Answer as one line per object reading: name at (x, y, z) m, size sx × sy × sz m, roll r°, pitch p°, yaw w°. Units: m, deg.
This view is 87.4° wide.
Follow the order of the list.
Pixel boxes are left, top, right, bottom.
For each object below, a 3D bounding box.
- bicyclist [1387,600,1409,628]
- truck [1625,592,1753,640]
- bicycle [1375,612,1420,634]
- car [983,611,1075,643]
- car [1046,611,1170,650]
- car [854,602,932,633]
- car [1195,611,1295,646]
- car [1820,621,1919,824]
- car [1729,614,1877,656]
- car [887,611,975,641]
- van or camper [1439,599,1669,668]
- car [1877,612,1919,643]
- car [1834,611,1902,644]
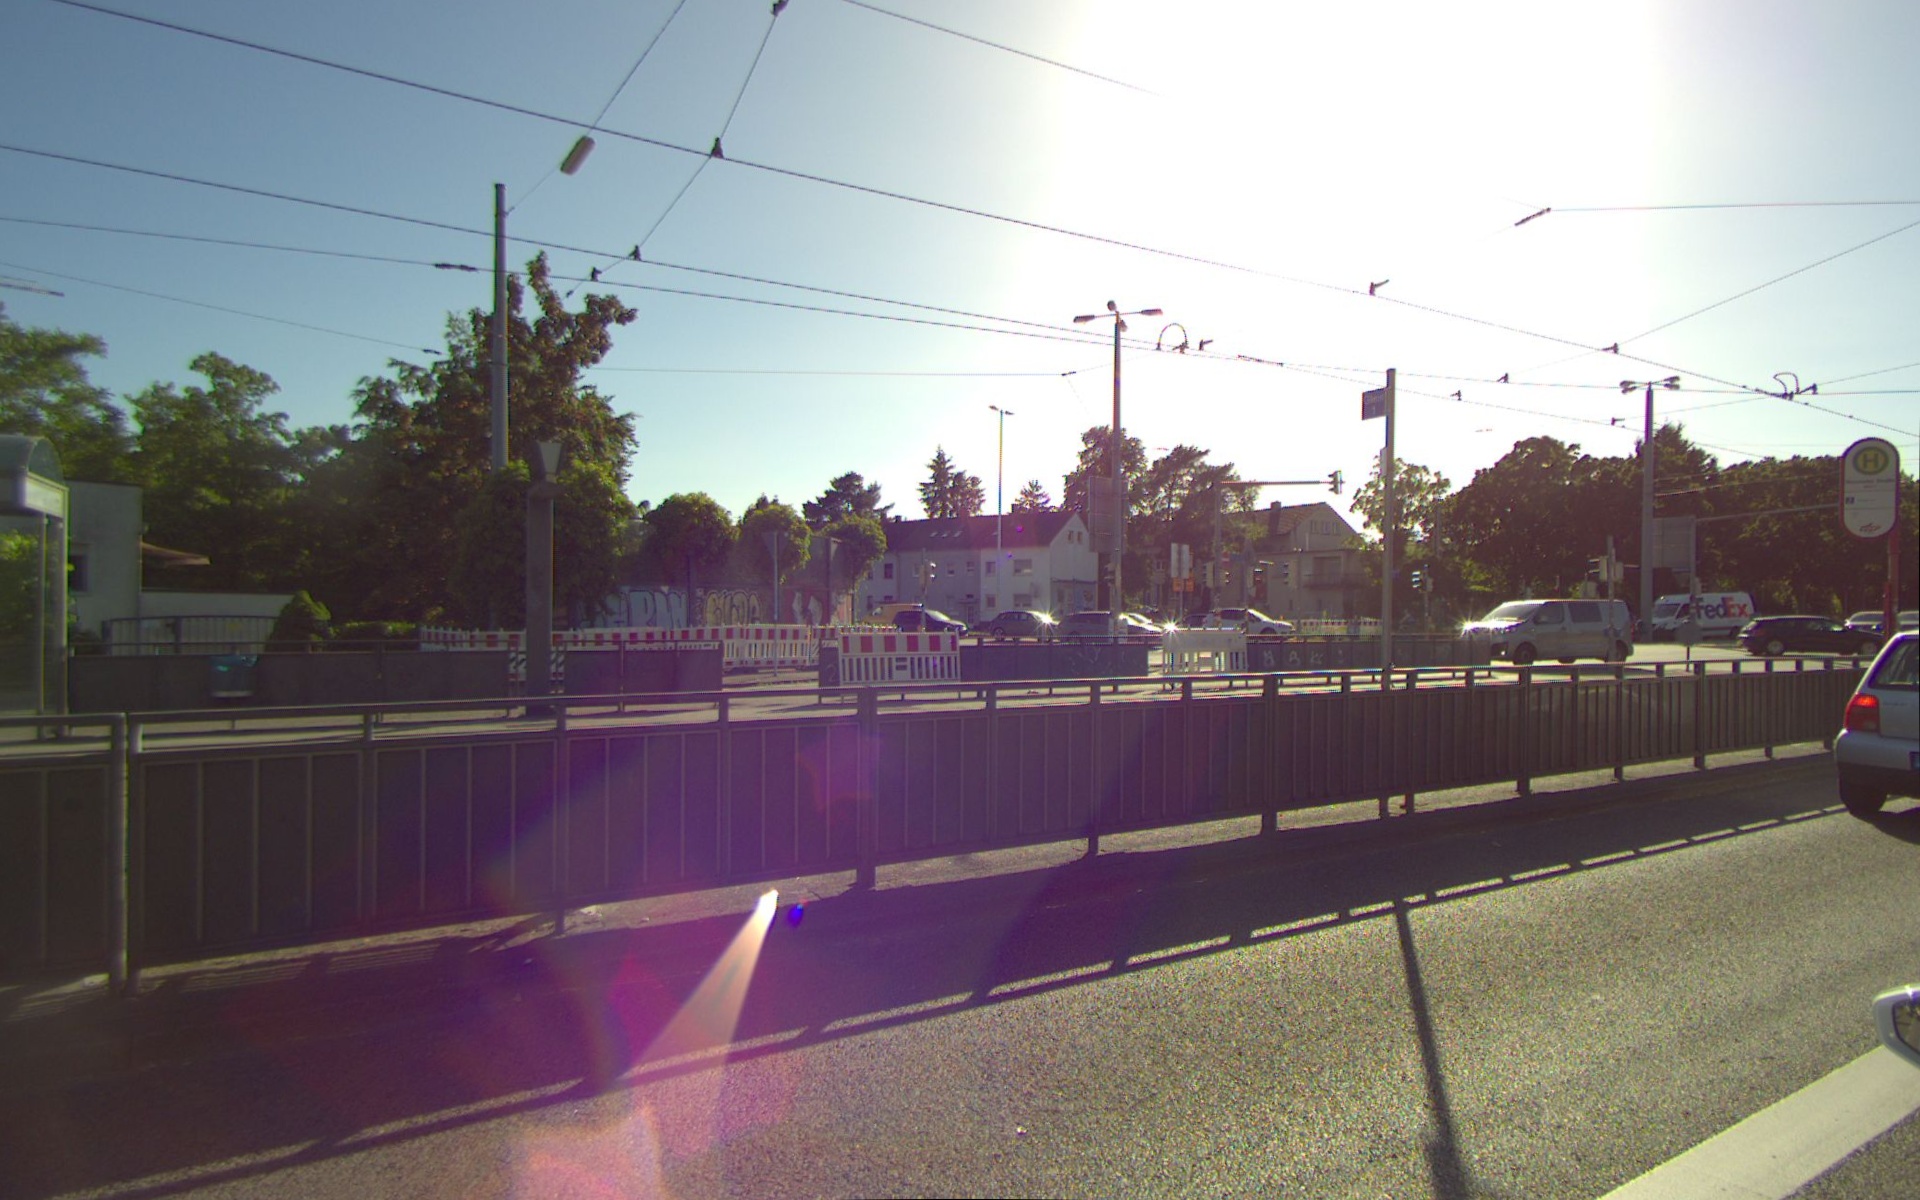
bicyclist at (26.175, 0.827, 59.973) m, size 0.995 × 1.669 × 0.813 m, roll 0°, pitch 0°, yaw 42°
truck at (40.383, 0.887, 55.648) m, size 6.708 × 2.599 × 1.994 m, roll 0°, pitch 0°, yaw -15°
bicycle at (26.124, 1.366, 60.031) m, size 2.370 × 1.279 × 0.813 m, roll 0°, pitch 0°, yaw 43°
car at (3.213, 1.253, 47.338) m, size 4.104 × 1.451 × 1.589 m, roll 0°, pitch -1°, yaw 34°
car at (6.060, 1.208, 41.366) m, size 4.754 × 1.517 × 1.781 m, roll 0°, pitch -1°, yaw 34°
car at (-4.557, 1.172, 67.673) m, size 5.084 × 1.905 × 1.994 m, roll 2°, pitch 1°, yaw 34°
car at (12.578, 1.233, 44.379) m, size 3.937 × 1.498 × 1.709 m, roll 0°, pitch -1°, yaw 38°
car at (8.374, 0.903, 7.809) m, size 3.312 × 1.436 × 1.611 m, roll 1°, pitch -1°, yaw -31°
car at (29.104, 1.191, 34.782) m, size 3.603 × 1.397 × 1.528 m, roll 0°, pitch -1°, yaw 20°
car at (-1.500, 1.282, 50.758) m, size 4.212 × 1.451 × 1.788 m, roll 0°, pitch -1°, yaw 34°
van or camper at (16.883, 0.926, 28.616) m, size 5.883 × 1.852 × 1.995 m, roll 0°, pitch -1°, yaw -13°
car at (50.589, 1.452, 53.510) m, size 4.245 × 1.568 × 1.819 m, roll 1°, pitch -1°, yaw -37°
car at (45.697, 1.361, 50.535) m, size 3.963 × 1.568 × 1.819 m, roll 1°, pitch -1°, yaw -37°
